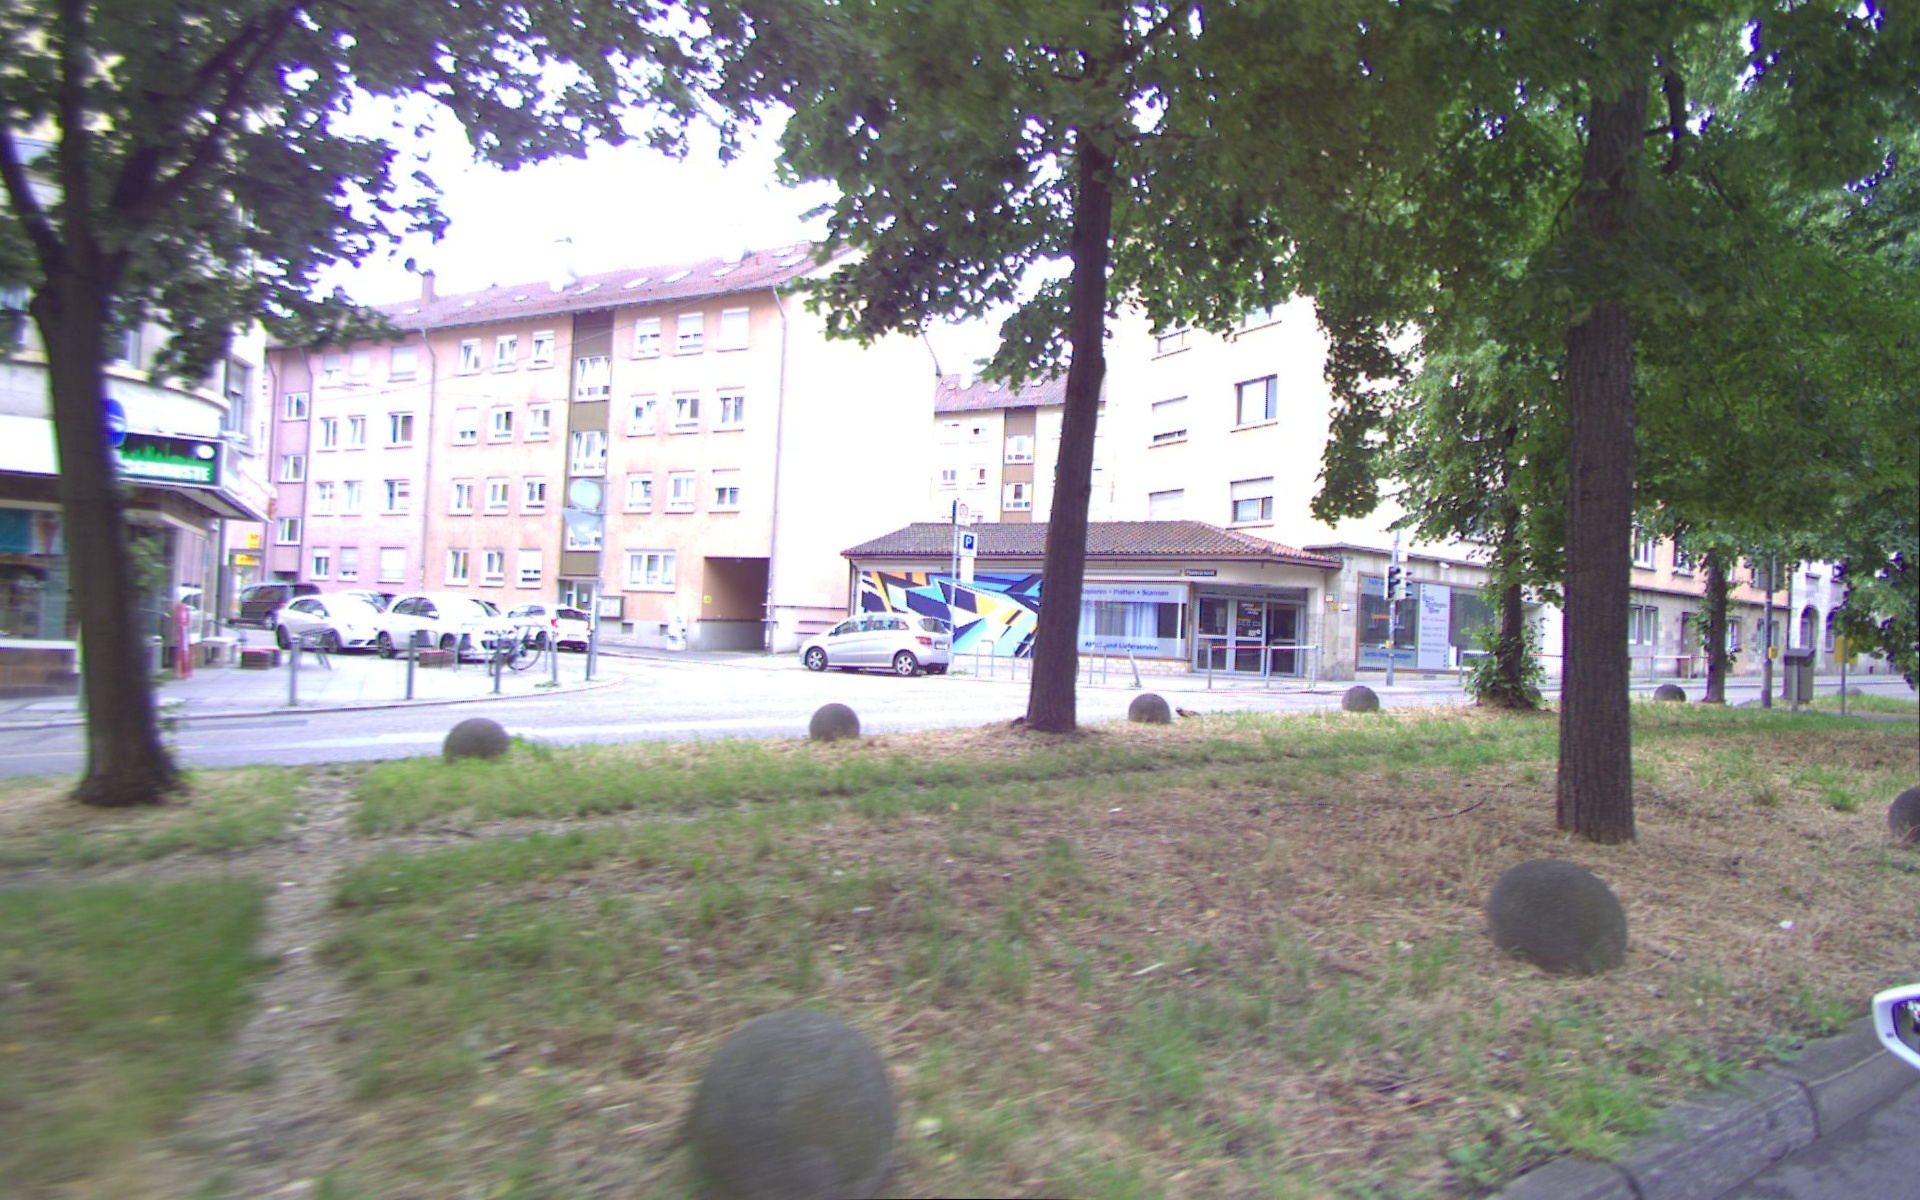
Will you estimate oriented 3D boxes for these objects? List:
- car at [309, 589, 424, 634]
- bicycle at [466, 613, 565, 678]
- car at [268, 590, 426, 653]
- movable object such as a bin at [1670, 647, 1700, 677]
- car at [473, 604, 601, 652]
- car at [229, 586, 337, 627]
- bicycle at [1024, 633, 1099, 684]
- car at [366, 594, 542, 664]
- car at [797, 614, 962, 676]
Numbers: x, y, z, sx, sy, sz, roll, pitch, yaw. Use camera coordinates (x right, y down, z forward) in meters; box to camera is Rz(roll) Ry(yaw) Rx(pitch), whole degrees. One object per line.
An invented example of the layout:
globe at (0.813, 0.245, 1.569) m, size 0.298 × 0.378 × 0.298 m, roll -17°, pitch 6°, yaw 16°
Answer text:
car at (-21.374, 0.427, 36.167) m, size 3.828 × 1.498 × 1.793 m, roll 0°, pitch -2°, yaw 28°
bicycle at (-8.398, 0.828, 19.111) m, size 0.851 × 1.060 × 2.458 m, roll 2°, pitch 1°, yaw -3°
car at (-15.834, 0.556, 25.936) m, size 3.697 × 1.531 × 1.819 m, roll 0°, pitch -2°, yaw 28°
movable object such as a bin at (27.026, 2.308, 37.436) m, size 0.683 × 1.074 × 0.687 m, roll 3°, pitch -1°, yaw -35°
car at (-13.741, 0.902, 32.596) m, size 3.828 × 1.498 × 1.793 m, roll 0°, pitch -2°, yaw 28°
car at (-25.987, 0.269, 38.563) m, size 3.828 × 1.498 × 1.793 m, roll 0°, pitch -2°, yaw 28°
bicycle at (2.413, 1.369, 23.707) m, size 0.752 × 1.099 × 2.029 m, roll 3°, pitch 0°, yaw 38°
car at (-11.799, 0.661, 23.409) m, size 3.697 × 1.531 × 1.819 m, roll 0°, pitch -2°, yaw 28°
car at (-2.122, 1.203, 26.317) m, size 3.968 × 1.498 × 1.819 m, roll -2°, pitch -3°, yaw 28°
